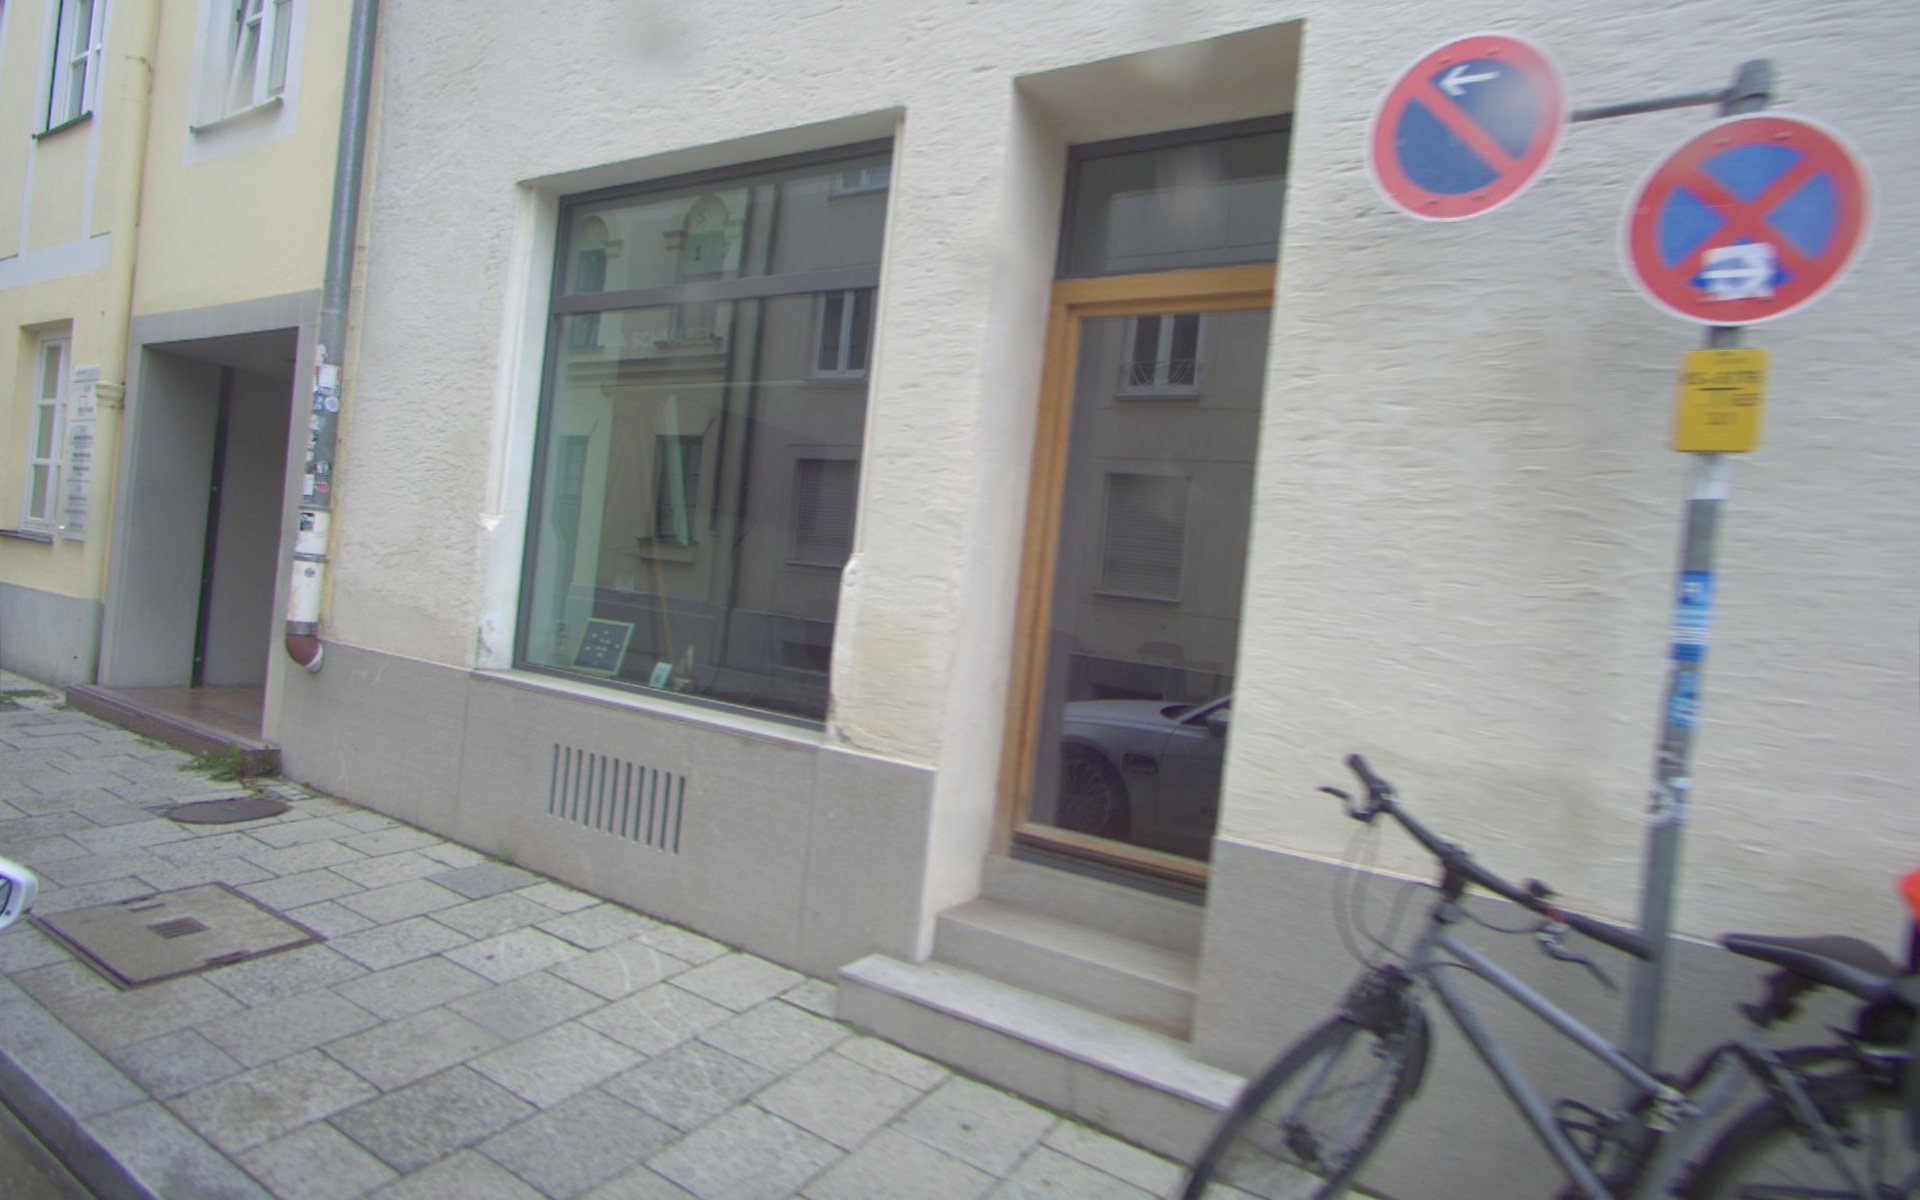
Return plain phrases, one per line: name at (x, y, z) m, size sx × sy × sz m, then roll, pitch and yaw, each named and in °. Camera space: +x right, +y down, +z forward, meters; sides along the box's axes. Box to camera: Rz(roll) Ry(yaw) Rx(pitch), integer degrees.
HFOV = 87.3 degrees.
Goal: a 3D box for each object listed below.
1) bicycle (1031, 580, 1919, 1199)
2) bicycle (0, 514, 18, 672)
bicycle at (1.283, 0.772, 1.998) m, size 2.087 × 1.415 × 0.713 m, roll 7°, pitch 3°, yaw 34°
bicycle at (-7.954, -0.143, 7.720) m, size 1.955 × 1.152 × 0.565 m, roll 7°, pitch 3°, yaw 32°
